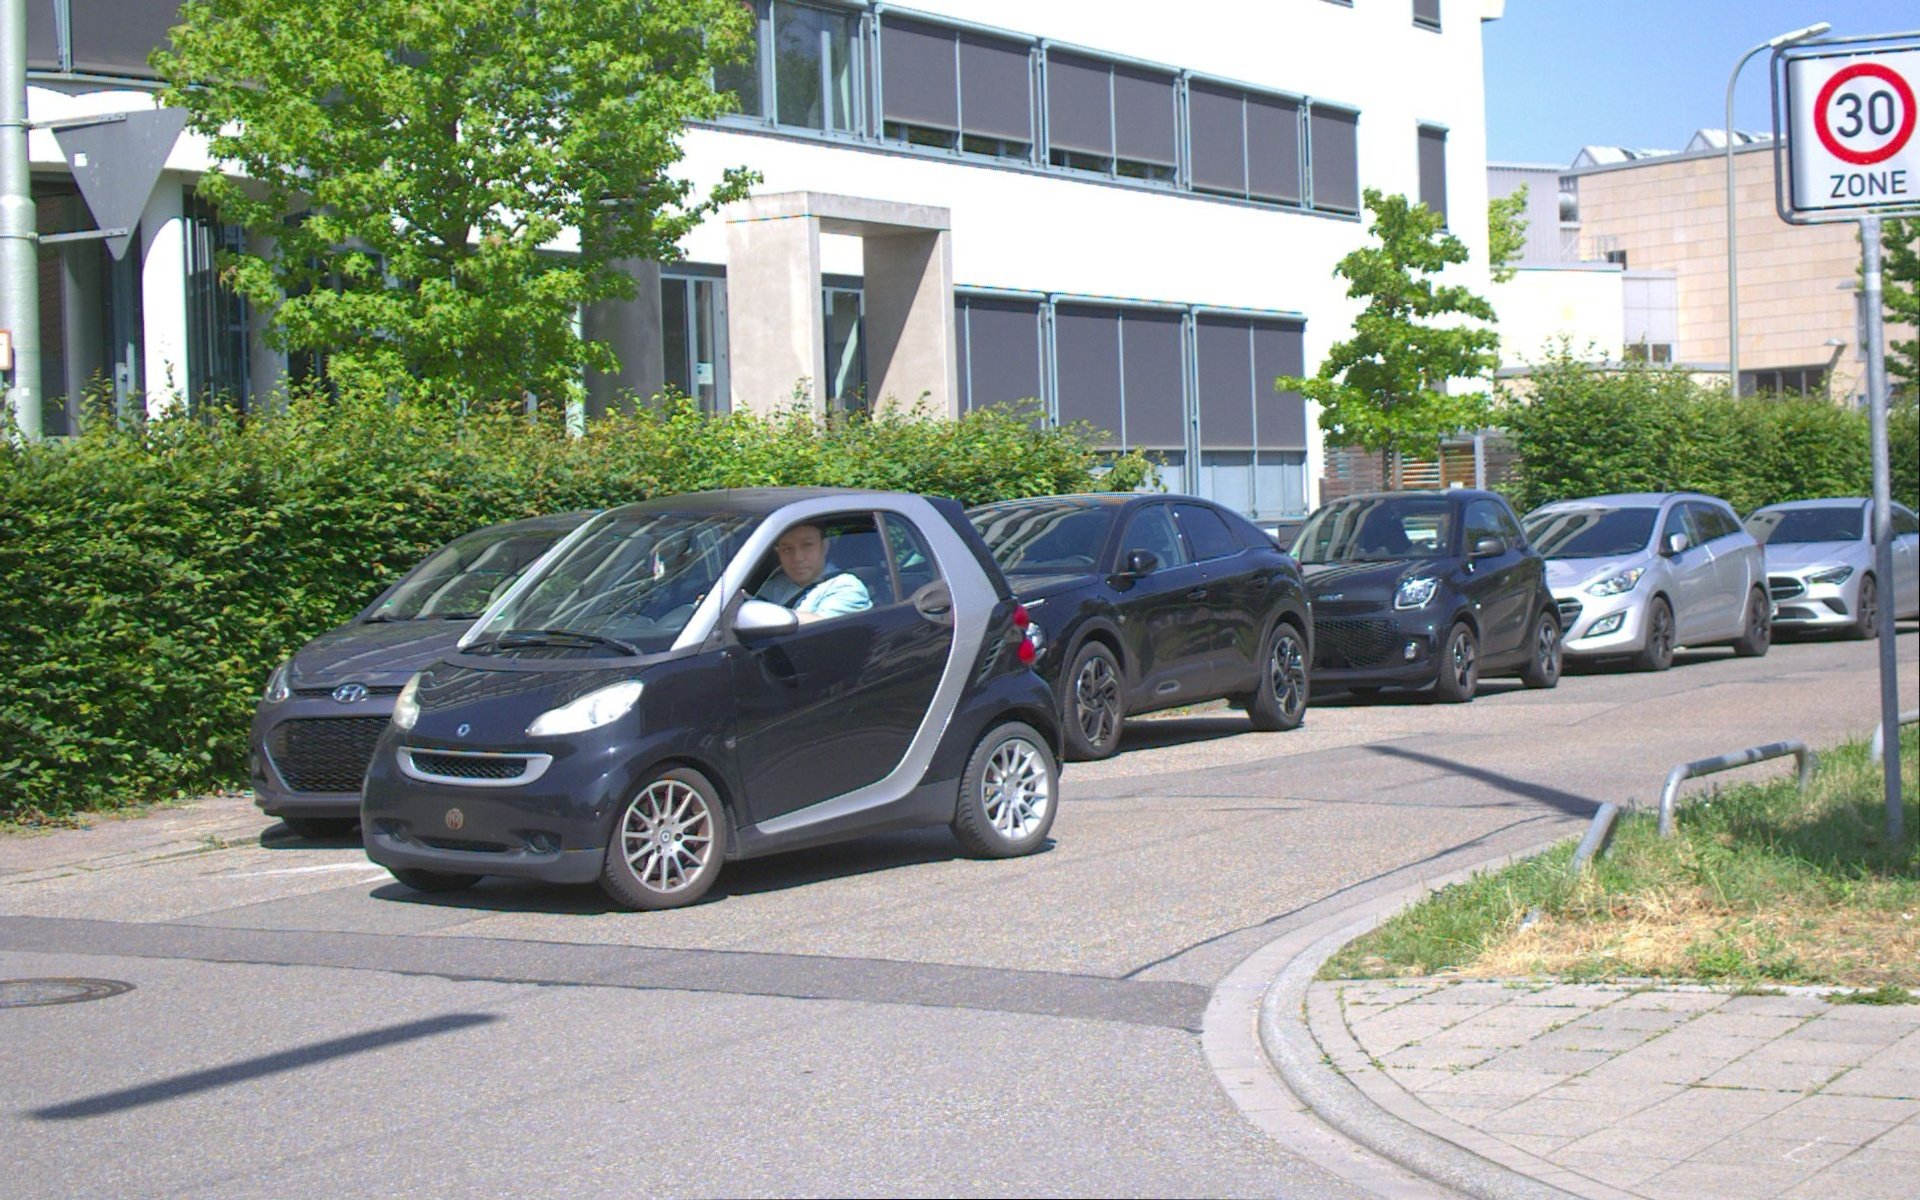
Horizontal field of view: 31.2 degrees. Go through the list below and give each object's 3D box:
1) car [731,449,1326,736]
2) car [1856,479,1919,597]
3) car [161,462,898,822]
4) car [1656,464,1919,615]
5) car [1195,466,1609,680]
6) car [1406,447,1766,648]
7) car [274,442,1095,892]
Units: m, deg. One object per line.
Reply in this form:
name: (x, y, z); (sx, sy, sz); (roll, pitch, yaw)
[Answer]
car: (0.531, -0.105, 20.544); (1.812, 1.513, 4.163); (-1, 2, 28)
car: (11.887, -0.772, 40.282); (1.812, 1.318, 3.823); (-1, 1, 28)
car: (-1.968, 0.128, 16.775); (1.702, 1.522, 3.691); (-1, 2, 28)
car: (8.496, -0.638, 34.737); (1.812, 1.399, 3.823); (-1, 2, 28)
car: (3.376, -0.240, 25.662); (1.780, 1.439, 3.845); (-1, 2, 28)
car: (5.420, -0.490, 29.371); (1.812, 1.500, 4.039); (-2, 2, 28)
car: (-1.035, 0.192, 13.740); (1.478, 1.533, 2.969); (0, 3, 45)
